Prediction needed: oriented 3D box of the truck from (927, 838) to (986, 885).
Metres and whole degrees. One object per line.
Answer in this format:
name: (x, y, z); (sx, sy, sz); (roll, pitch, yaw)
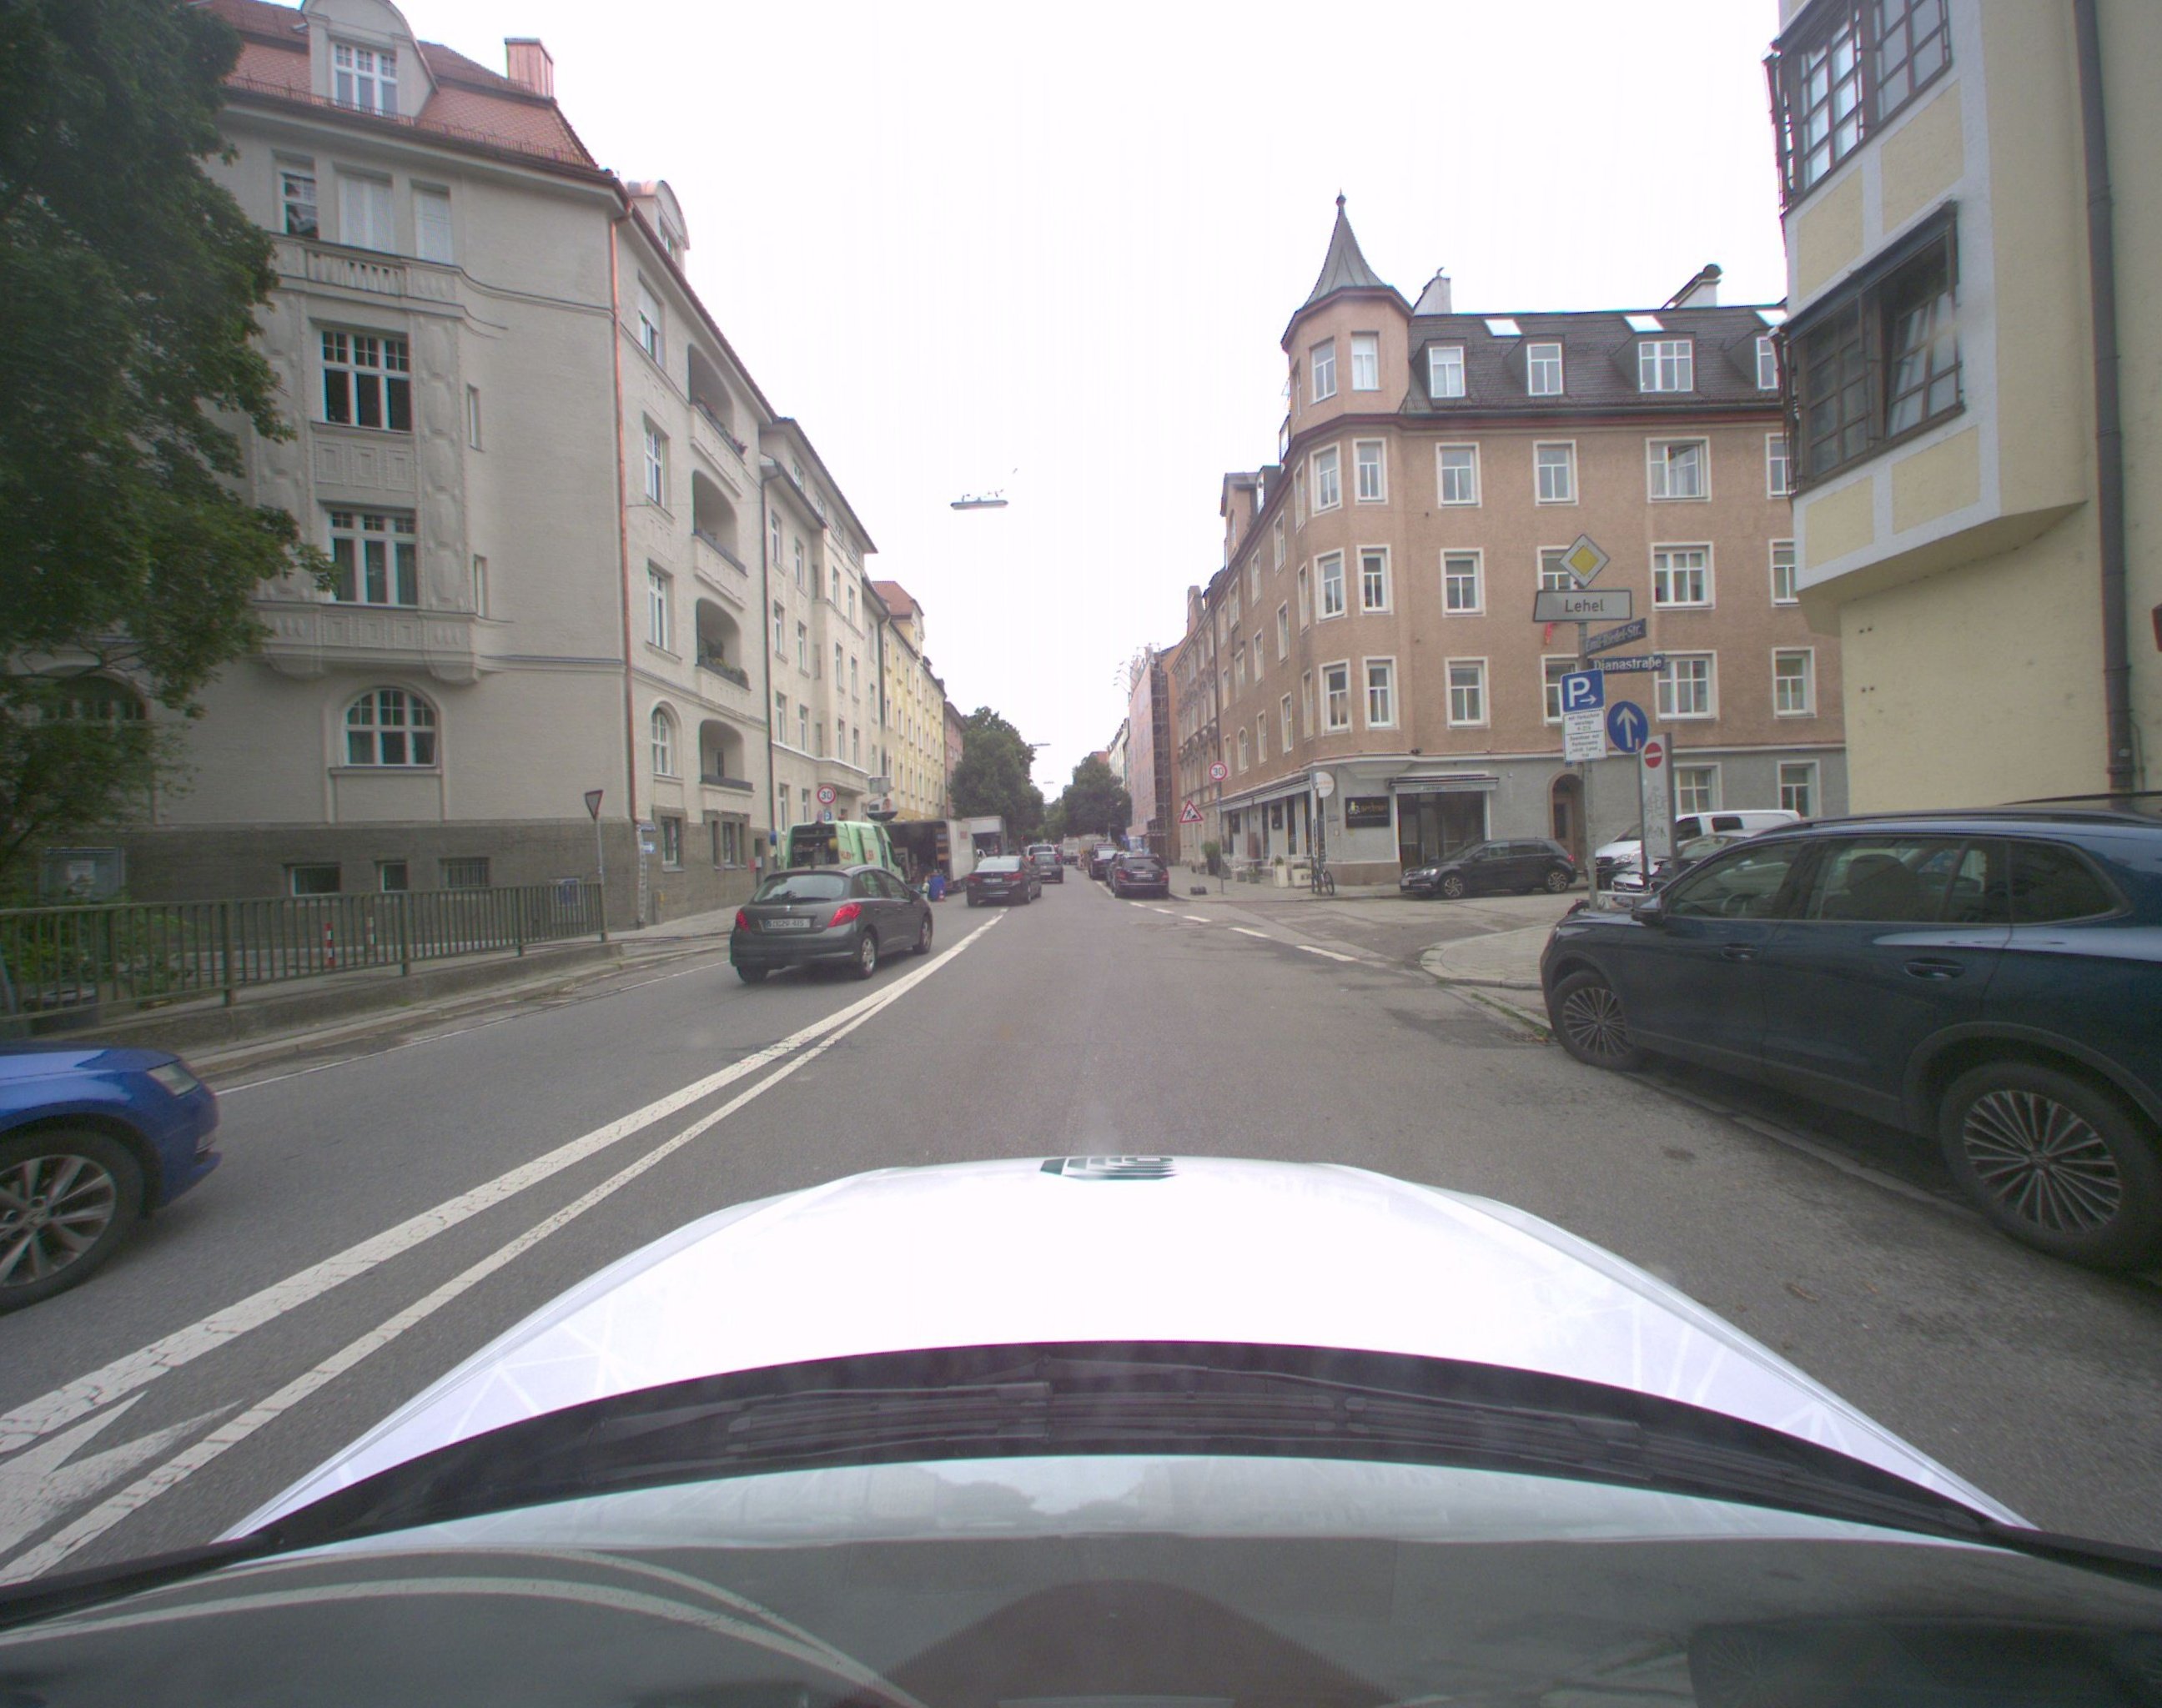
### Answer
truck: (-6.175, 0.339, 41.022); (2.280, 2.171, 4.804); (-2, 0, -2)

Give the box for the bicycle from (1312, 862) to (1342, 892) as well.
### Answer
bicycle: (6.882, 0.633, 22.850); (0.455, 0.805, 1.327); (-1, 0, 2)

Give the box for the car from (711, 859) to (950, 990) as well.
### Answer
car: (-3.353, 0.867, 11.820); (1.749, 1.461, 4.082); (-2, 0, 7)

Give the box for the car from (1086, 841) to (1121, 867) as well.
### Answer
car: (1.353, -0.045, 50.008); (1.984, 1.429, 4.140); (-2, 1, 0)

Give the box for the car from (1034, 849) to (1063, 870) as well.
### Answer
car: (-2.450, 0.380, 61.627); (1.984, 1.429, 4.140); (-2, 1, 0)

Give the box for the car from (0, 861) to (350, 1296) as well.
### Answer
car: (-4.891, 0.821, 1.688); (1.975, 1.454, 4.748); (-2, 0, 10)

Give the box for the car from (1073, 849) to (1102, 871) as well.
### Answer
car: (0.474, 0.402, 59.755); (1.984, 1.429, 4.140); (-2, 1, 0)

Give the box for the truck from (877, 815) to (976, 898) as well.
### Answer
truck: (-5.993, 0.027, 32.793); (2.766, 2.872, 7.196); (-2, 1, -2)

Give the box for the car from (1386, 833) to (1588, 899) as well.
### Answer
car: (10.198, 0.316, 20.704); (4.157, 1.429, 1.924); (-2, -2, -1)

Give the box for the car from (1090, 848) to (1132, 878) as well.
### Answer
car: (1.478, 0.423, 41.999); (1.839, 1.429, 4.303); (1, 1, -2)

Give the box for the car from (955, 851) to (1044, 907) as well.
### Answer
car: (-2.400, 0.697, 25.347); (1.982, 1.429, 4.910); (-2, 1, 3)

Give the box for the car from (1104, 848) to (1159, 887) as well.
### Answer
car: (1.993, 0.486, 33.311); (1.839, 1.429, 4.137); (1, 1, -2)

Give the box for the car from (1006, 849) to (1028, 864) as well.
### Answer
car: (-6.501, 0.240, 83.045); (1.934, 1.448, 3.864); (-2, 0, -2)

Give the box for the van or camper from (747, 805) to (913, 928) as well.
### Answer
van or camper: (-6.624, 0.231, 22.547); (2.592, 2.840, 6.185); (-2, 1, 0)

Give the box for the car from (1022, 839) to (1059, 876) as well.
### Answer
car: (-2.422, 0.182, 49.803); (1.984, 2.075, 4.140); (-2, 1, 0)

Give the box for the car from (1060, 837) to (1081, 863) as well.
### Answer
car: (-0.996, -0.435, 82.882); (1.933, 2.480, 4.783); (-1, 0, 1)

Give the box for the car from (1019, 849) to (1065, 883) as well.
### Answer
car: (-1.787, 0.526, 38.568); (1.984, 1.429, 4.140); (-2, 1, 0)

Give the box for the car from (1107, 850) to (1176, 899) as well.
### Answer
car: (1.955, 0.635, 27.382); (1.839, 1.429, 4.180); (1, 1, -2)

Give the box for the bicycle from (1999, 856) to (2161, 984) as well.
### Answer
bicycle: (8.542, 0.517, 6.614); (0.270, 0.977, 1.684); (-1, 0, 0)

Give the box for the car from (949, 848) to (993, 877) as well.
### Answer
car: (-6.475, 0.484, 48.373); (1.984, 1.610, 4.139); (-2, 0, 0)

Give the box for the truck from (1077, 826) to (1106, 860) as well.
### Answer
truck: (0.919, -1.009, 75.934); (2.485, 2.973, 5.324); (-2, 0, -1)

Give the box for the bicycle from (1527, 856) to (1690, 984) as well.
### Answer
bicycle: (5.672, 0.644, 8.906); (0.512, 1.208, 1.996); (-1, 0, 2)

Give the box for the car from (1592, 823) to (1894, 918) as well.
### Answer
car: (11.783, 0.252, 14.698); (4.022, 1.456, 1.747); (-2, 2, 1)

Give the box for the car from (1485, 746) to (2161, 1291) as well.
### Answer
car: (4.227, 0.455, 4.401); (1.812, 1.679, 4.511); (-3, 0, 1)

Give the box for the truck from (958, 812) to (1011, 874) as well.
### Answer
truck: (-6.510, -0.735, 55.966); (3.005, 3.951, 6.989); (-1, 0, -2)

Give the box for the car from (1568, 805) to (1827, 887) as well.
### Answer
car: (15.877, -0.164, 21.197); (5.112, 1.854, 2.099); (-2, -2, -1)
